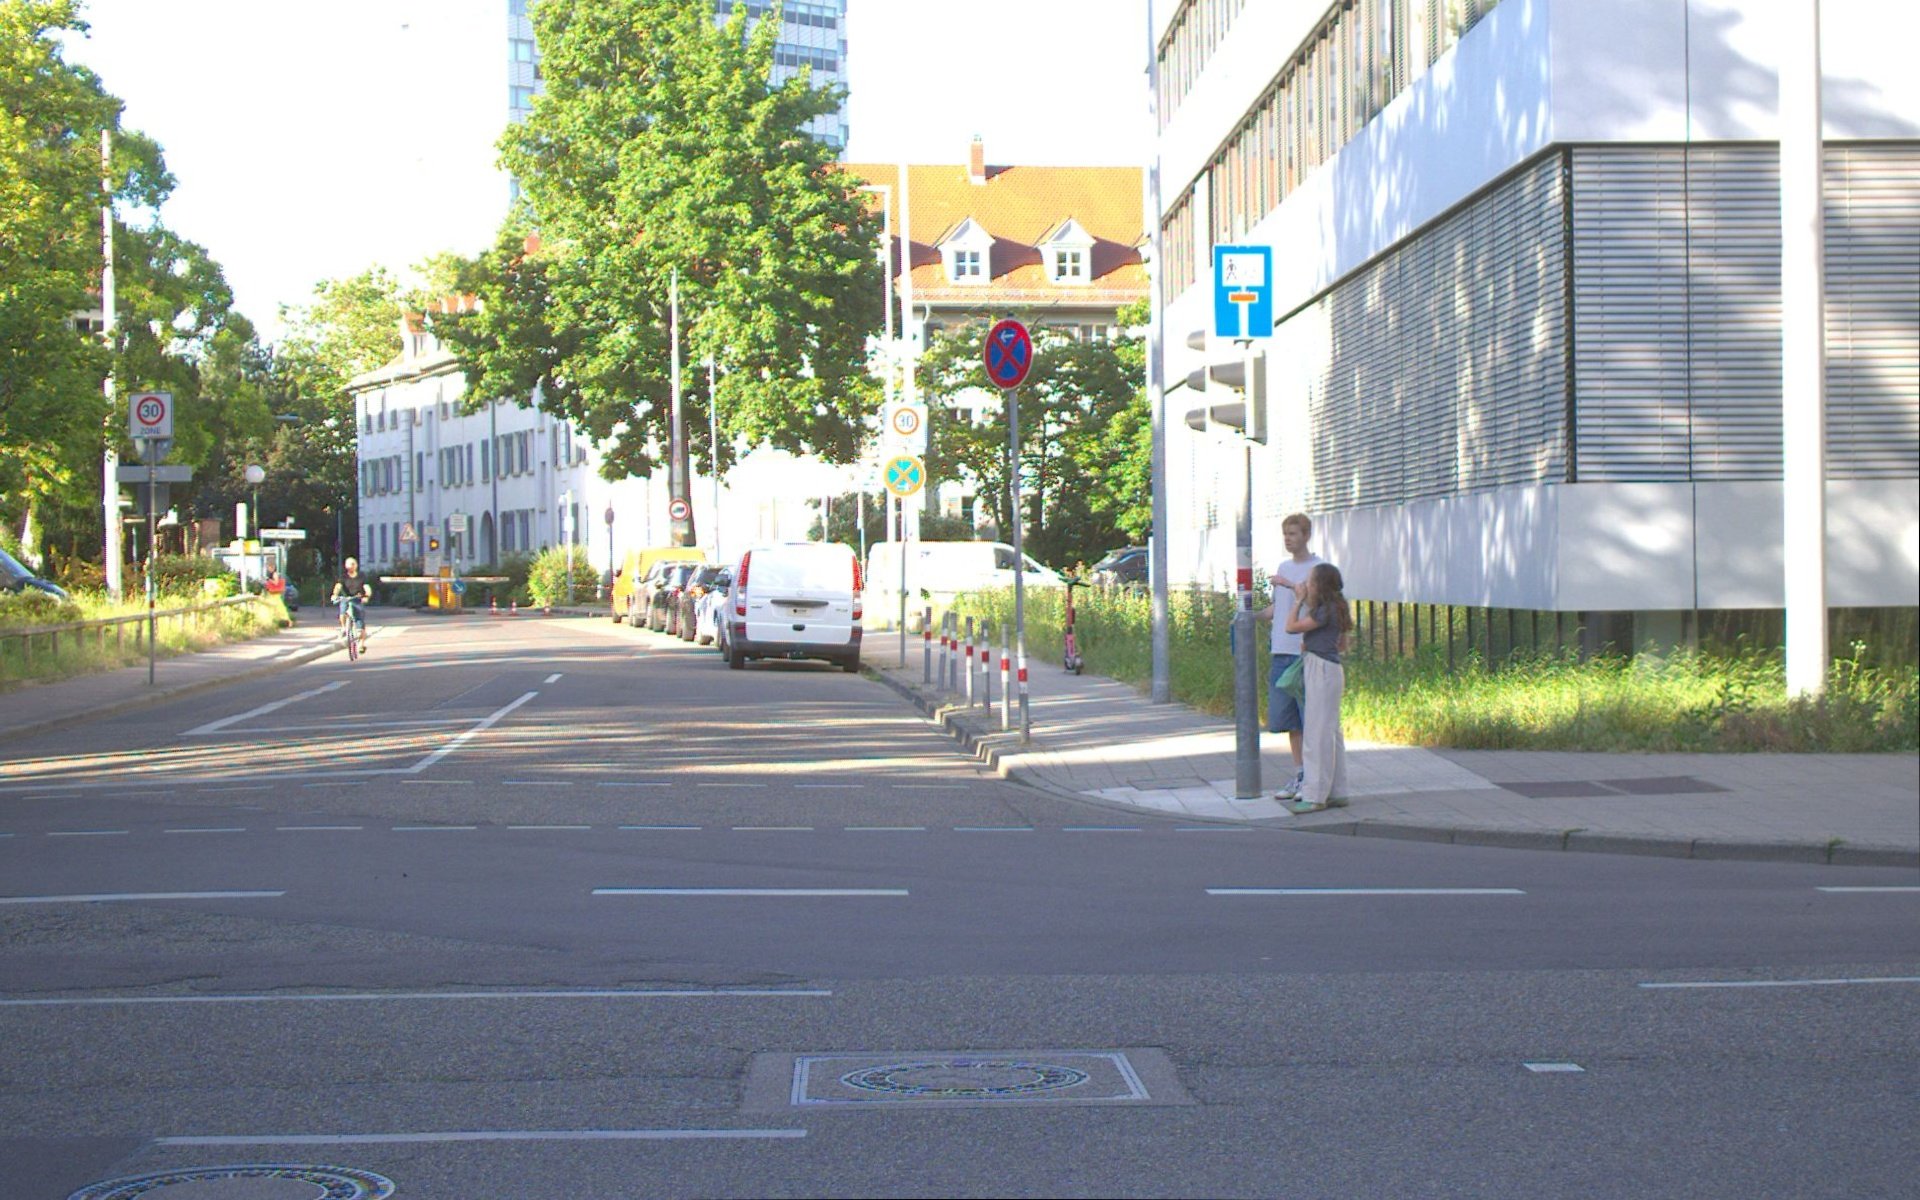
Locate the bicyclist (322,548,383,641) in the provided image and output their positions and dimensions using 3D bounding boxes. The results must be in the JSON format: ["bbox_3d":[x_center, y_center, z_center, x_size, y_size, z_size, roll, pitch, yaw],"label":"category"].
[{"bbox_3d":[-10.266,-0.090,58.113,0.865,1.510,1.019,-3,0,-6],"label":"bicyclist"}]

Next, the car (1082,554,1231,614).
[{"bbox_3d":[5.068,-0.420,88.896,3.553,1.541,1.559,0,0,-14],"label":"car"}]

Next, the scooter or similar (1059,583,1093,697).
[{"bbox_3d":[1.462,0.495,43.365,0.330,1.419,1.335,1,0,-1],"label":"scooter or similar"}]

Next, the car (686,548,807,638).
[{"bbox_3d":[-3.991,-0.154,63.711,1.888,1.550,4.416,0,2,-8],"label":"car"}]

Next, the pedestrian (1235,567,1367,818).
[{"bbox_3d":[2.163,0.575,21.841,0.559,1.535,0.677,-4,1,-13],"label":"pedestrian"}]

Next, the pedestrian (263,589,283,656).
[{"bbox_3d":[-16.775,0.548,83.926,0.433,1.602,0.493,-1,0,-8],"label":"pedestrian"}]

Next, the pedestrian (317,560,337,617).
[{"bbox_3d":[-18.712,-0.332,101.637,0.545,1.671,0.476,-1,1,-12],"label":"pedestrian"}]

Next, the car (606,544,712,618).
[{"bbox_3d":[-7.146,-0.475,81.266,1.888,1.650,4.416,0,2,-13],"label":"car"}]

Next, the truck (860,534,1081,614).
[{"bbox_3d":[0.264,-0.665,88.157,5.336,2.007,2.001,0,0,-14],"label":"truck"}]

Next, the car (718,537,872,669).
[{"bbox_3d":[-2.450,0.002,50.040,2.085,1.789,4.416,0,2,-5],"label":"car"}]

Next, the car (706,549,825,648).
[{"bbox_3d":[-3.329,-0.054,58.253,1.888,1.550,4.416,0,2,-5],"label":"car"}]

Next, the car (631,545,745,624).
[{"bbox_3d":[-6.093,-0.362,76.654,1.888,1.650,4.416,0,2,-13],"label":"car"}]

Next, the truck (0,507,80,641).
[{"bbox_3d":[-18.484,-0.480,61.879,4.827,2.391,2.088,0,1,-4],"label":"truck"}]

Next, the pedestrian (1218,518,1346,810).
[{"bbox_3d":[2.105,0.410,22.454,0.560,1.844,0.676,-3,1,21],"label":"pedestrian"}]

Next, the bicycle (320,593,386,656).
[{"bbox_3d":[-10.249,0.401,58.100,0.865,1.006,2.415,-3,0,-6],"label":"bicycle"}]
